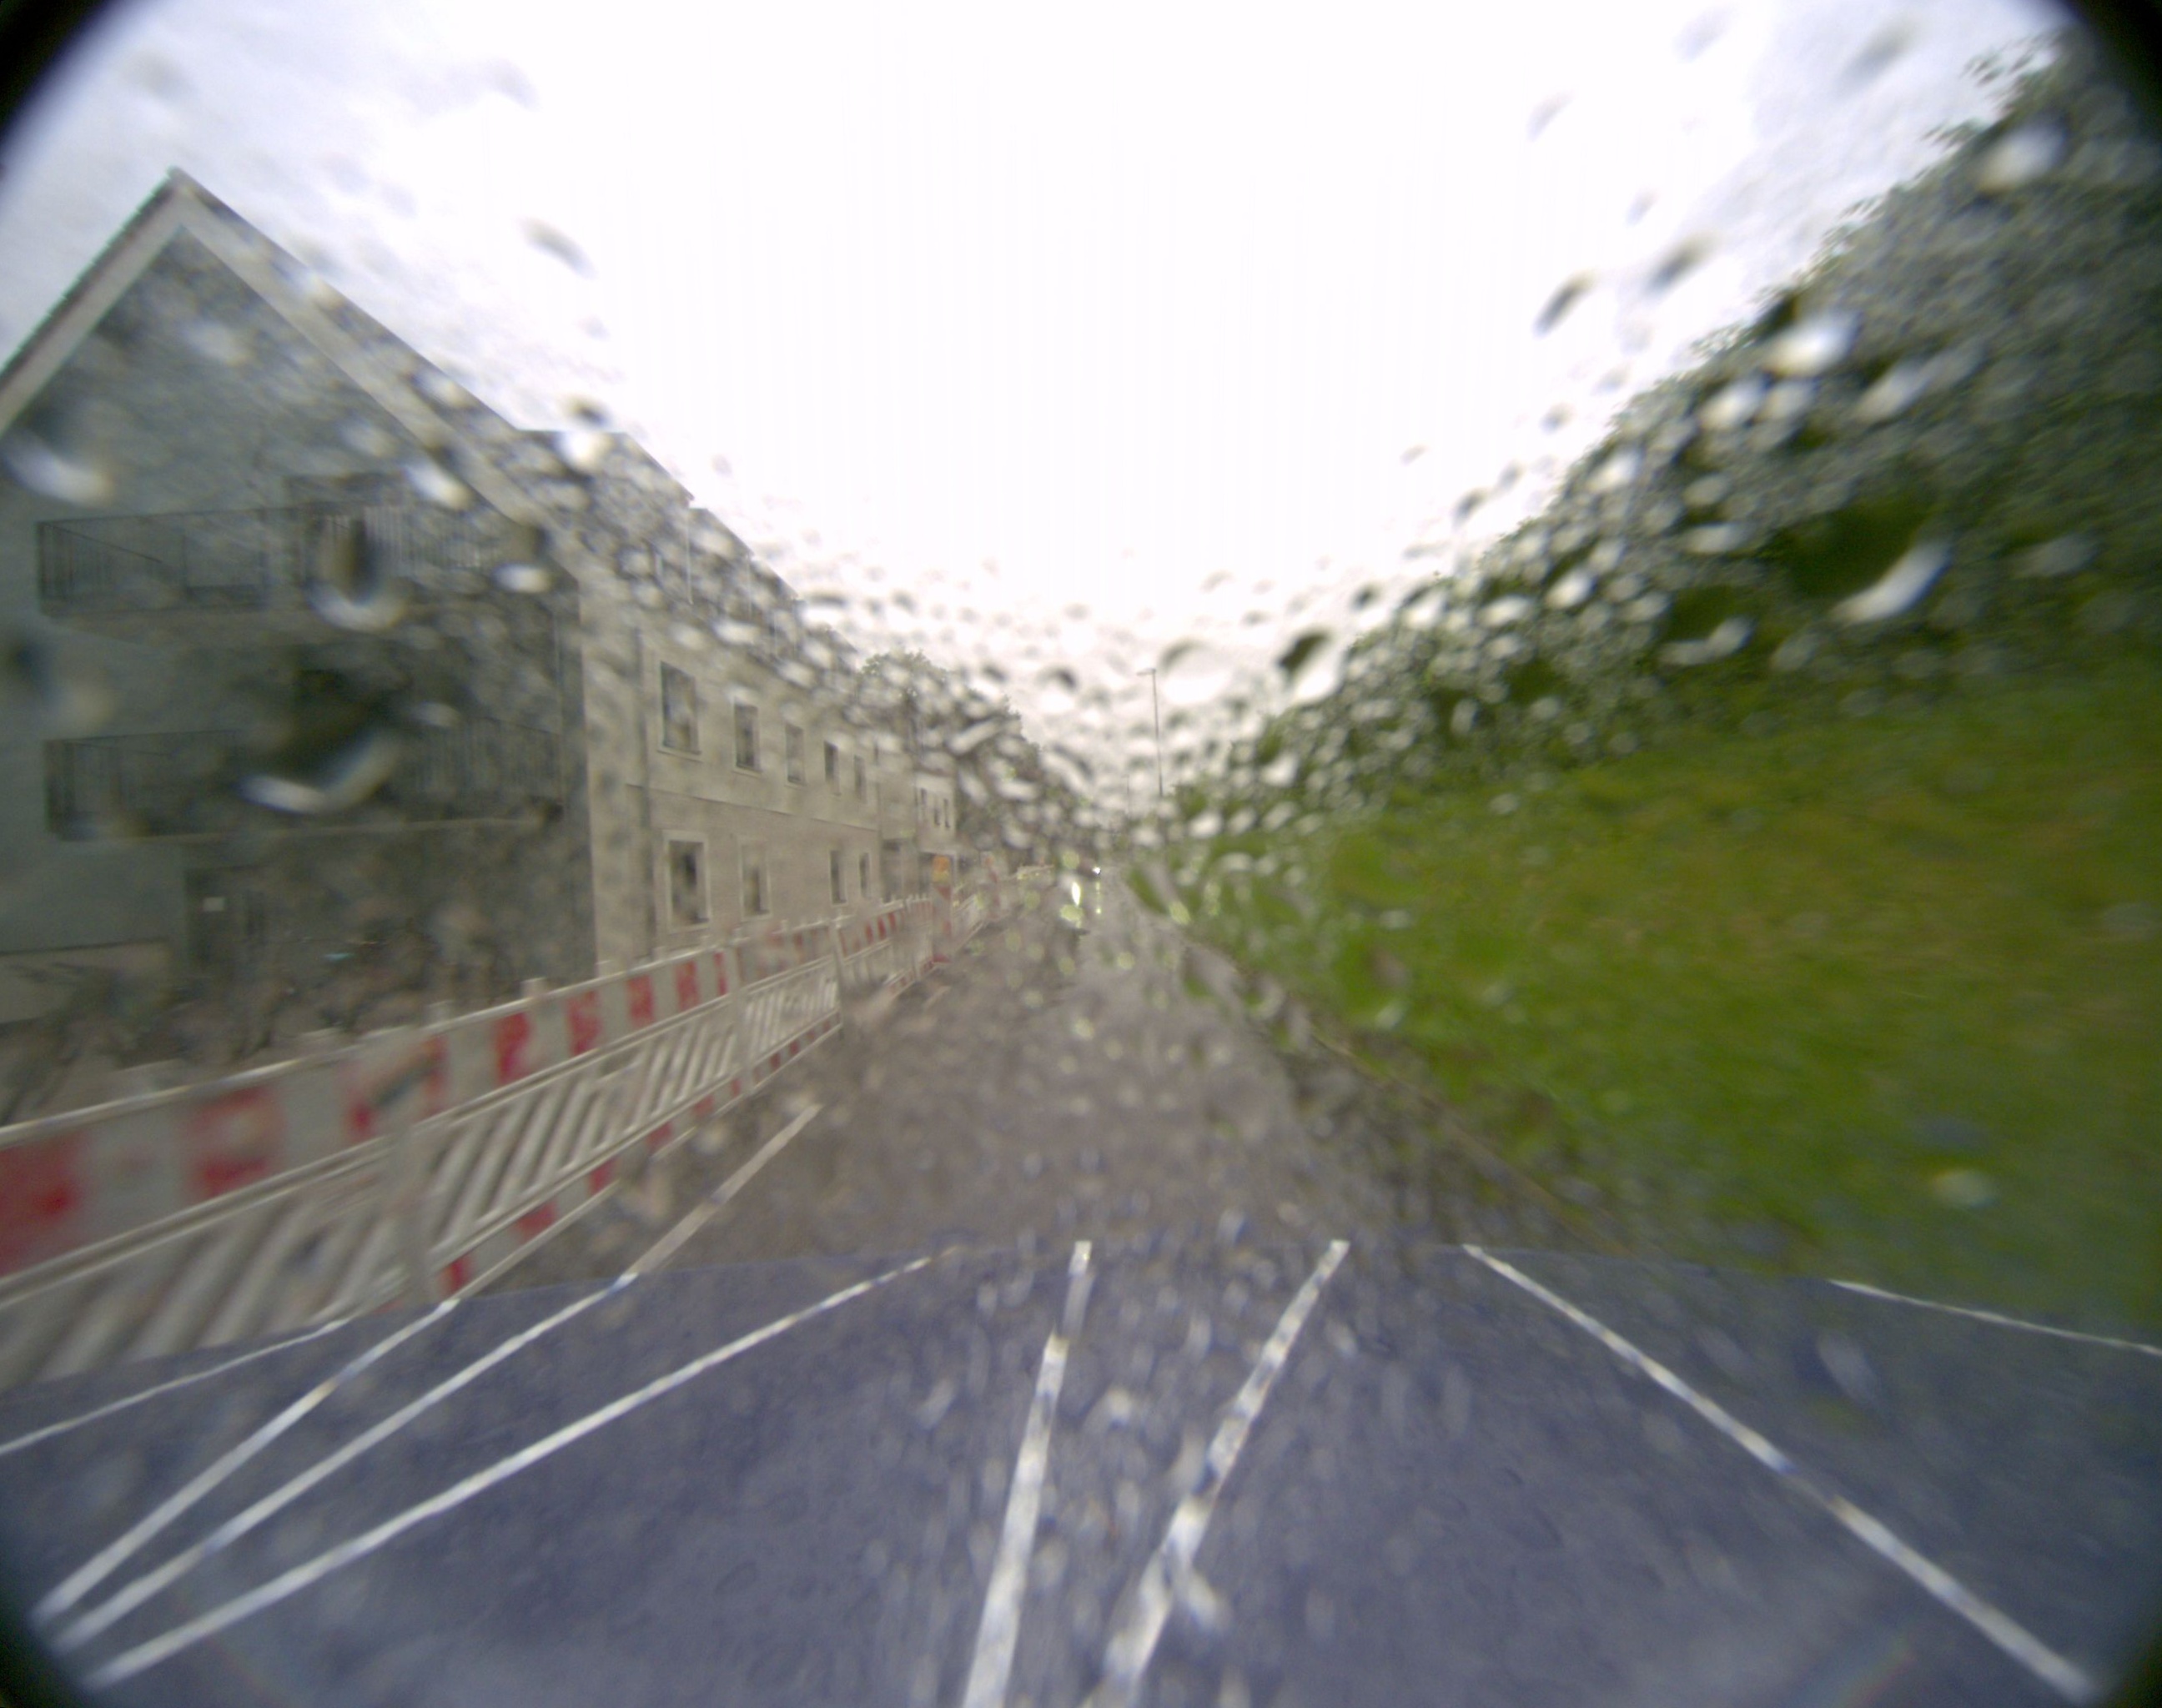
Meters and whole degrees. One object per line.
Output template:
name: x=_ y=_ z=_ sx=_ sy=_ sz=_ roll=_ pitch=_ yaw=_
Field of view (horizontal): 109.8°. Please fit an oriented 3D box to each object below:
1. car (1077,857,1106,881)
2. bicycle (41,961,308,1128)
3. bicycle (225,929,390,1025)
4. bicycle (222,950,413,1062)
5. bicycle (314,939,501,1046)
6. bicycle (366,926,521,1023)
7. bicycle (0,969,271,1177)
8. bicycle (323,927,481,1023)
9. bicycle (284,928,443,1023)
car: x=0.697 y=0.963 z=51.421 sx=1.851 sy=1.444 sz=4.531 roll=-2 pitch=0 yaw=1
bicycle: x=-7.783 y=1.581 z=6.639 sx=0.489 sy=1.047 sz=1.534 roll=-2 pitch=0 yaw=-2
bicycle: x=-10.732 y=1.672 z=10.587 sx=0.488 sy=1.071 sz=1.537 roll=-1 pitch=1 yaw=40
bicycle: x=-7.997 y=1.582 z=7.982 sx=1.533 sy=1.047 sz=0.450 roll=-2 pitch=1 yaw=2
bicycle: x=-7.754 y=1.574 z=8.811 sx=1.535 sy=1.047 sz=0.449 roll=-2 pitch=1 yaw=-18
bicycle: x=-8.747 y=1.614 z=10.480 sx=0.488 sy=1.071 sz=1.537 roll=-1 pitch=1 yaw=40
bicycle: x=-7.035 y=1.498 z=5.539 sx=0.489 sy=1.047 sz=1.654 roll=-2 pitch=0 yaw=-2
bicycle: x=-9.373 y=1.632 z=10.537 sx=0.488 sy=1.071 sz=1.537 roll=-1 pitch=1 yaw=40
bicycle: x=-9.989 y=1.650 z=10.634 sx=0.488 sy=1.071 sz=1.537 roll=-1 pitch=1 yaw=40
